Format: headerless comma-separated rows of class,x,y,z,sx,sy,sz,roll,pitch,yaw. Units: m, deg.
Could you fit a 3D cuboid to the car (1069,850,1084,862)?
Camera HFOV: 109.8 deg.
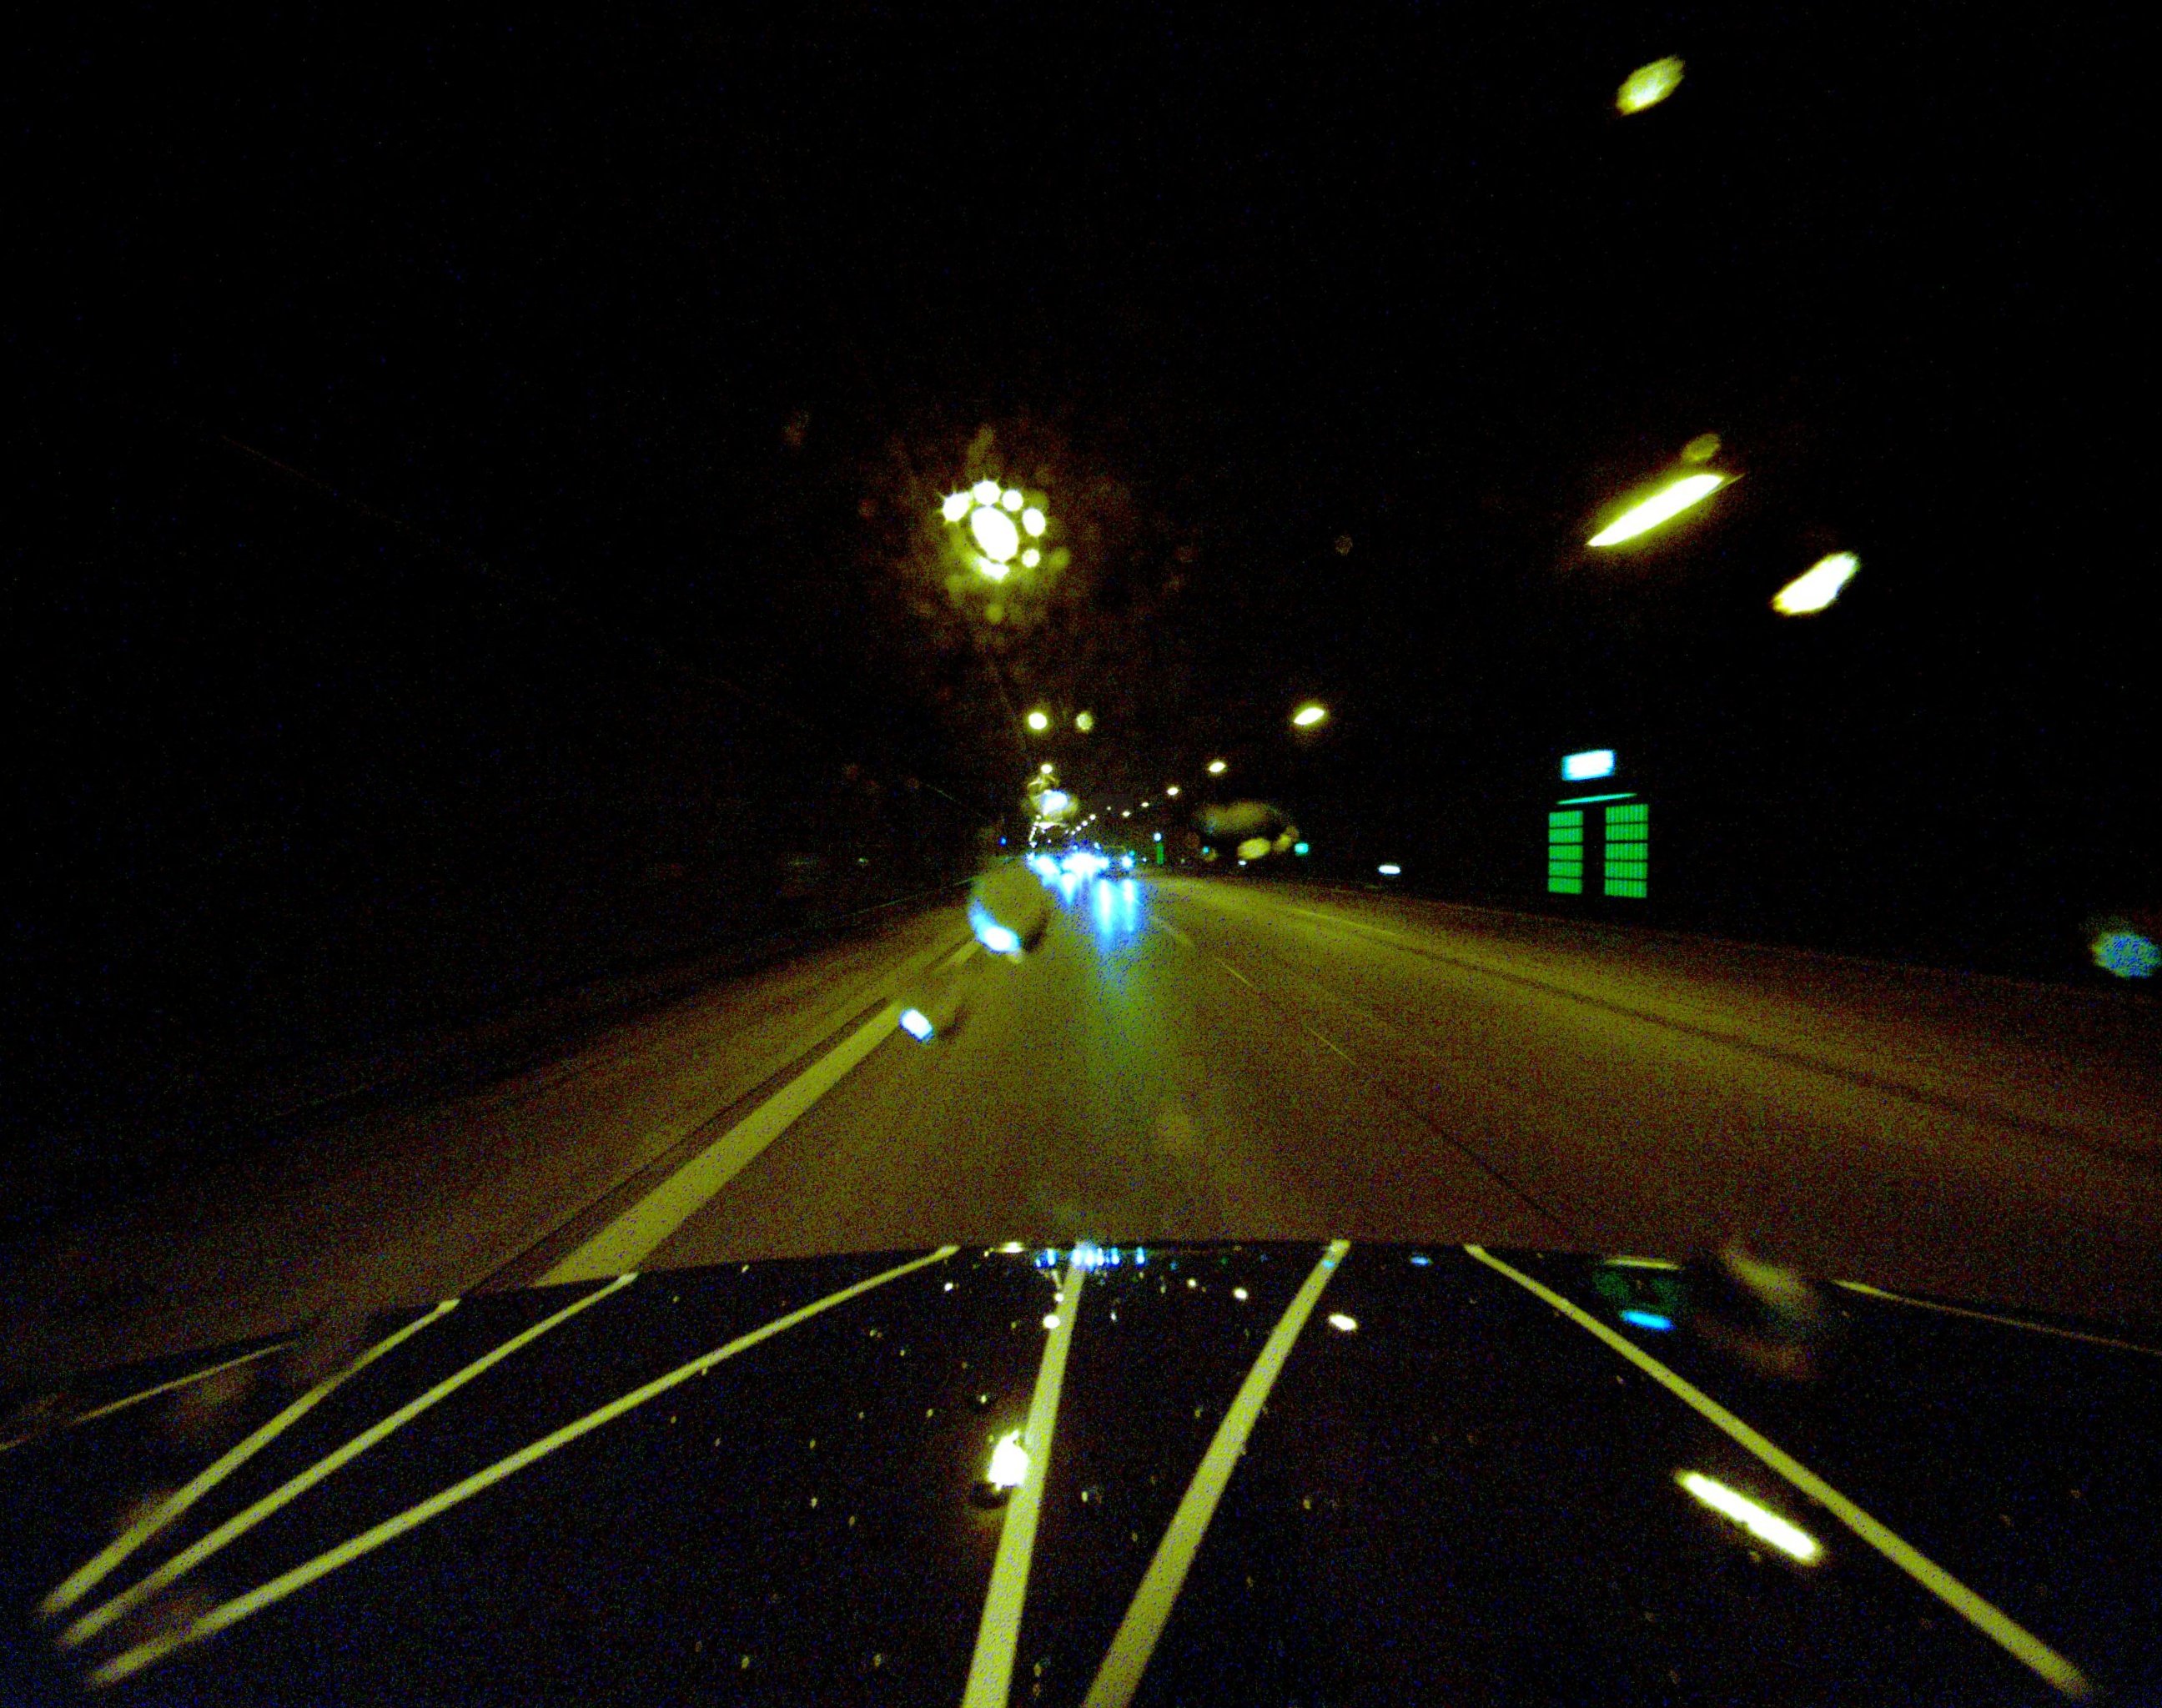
car,-0.658,0.293,105.314,1.759,1.567,3.998,-2,0,-4

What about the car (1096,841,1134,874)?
car,2.202,0.275,50.454,1.999,2.001,4.360,-1,-1,-4

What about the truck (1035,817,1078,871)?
truck,-2.192,-0.836,64.517,3.143,4.136,7.384,-2,1,-4

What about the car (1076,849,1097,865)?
car,0.576,0.313,83.672,1.911,1.638,3.998,-2,0,-4
